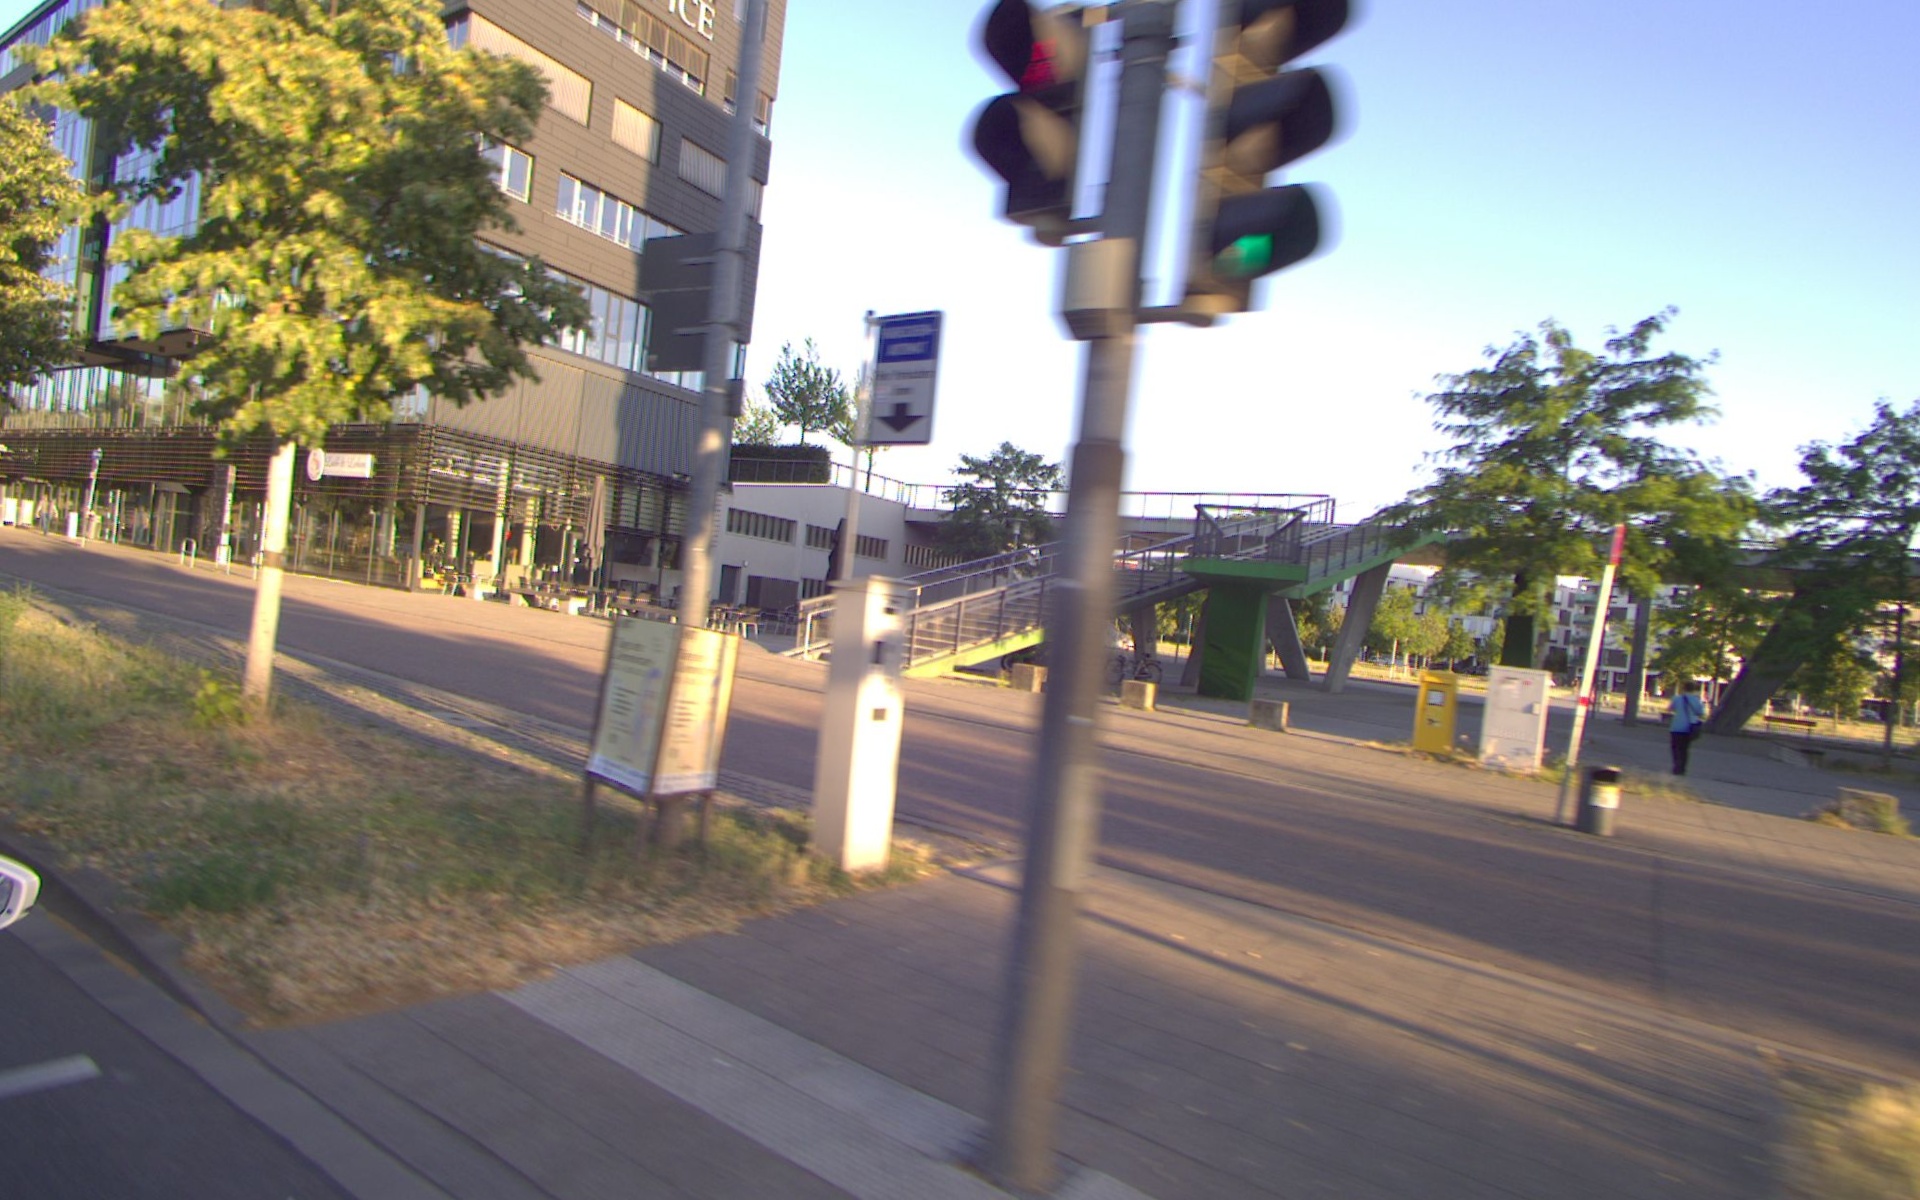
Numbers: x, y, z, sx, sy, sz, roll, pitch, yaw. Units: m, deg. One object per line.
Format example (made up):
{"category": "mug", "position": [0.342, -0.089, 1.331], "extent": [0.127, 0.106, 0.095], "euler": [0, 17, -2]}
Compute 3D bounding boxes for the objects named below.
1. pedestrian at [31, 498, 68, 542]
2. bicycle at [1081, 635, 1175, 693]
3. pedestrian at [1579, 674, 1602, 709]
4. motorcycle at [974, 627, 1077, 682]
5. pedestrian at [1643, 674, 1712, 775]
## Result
{"category": "pedestrian", "position": [-40.468, -3.555, 44.696], "extent": [0.897, 1.819, 0.897], "euler": [6, 0, 32]}
{"category": "bicycle", "position": [4.544, 1.712, 27.322], "extent": [2.417, 1.252, 0.729], "euler": [6, 0, 44]}
{"category": "pedestrian", "position": [40.030, 5.817, 63.851], "extent": [1.000, 2.039, 1.139], "euler": [7, 1, 36]}
{"category": "motorcycle", "position": [1.618, 1.349, 25.398], "extent": [2.656, 1.056, 0.729], "euler": [6, 0, 44]}
{"category": "pedestrian", "position": [14.386, 2.468, 20.196], "extent": [0.824, 1.867, 0.897], "euler": [7, 1, 27]}
